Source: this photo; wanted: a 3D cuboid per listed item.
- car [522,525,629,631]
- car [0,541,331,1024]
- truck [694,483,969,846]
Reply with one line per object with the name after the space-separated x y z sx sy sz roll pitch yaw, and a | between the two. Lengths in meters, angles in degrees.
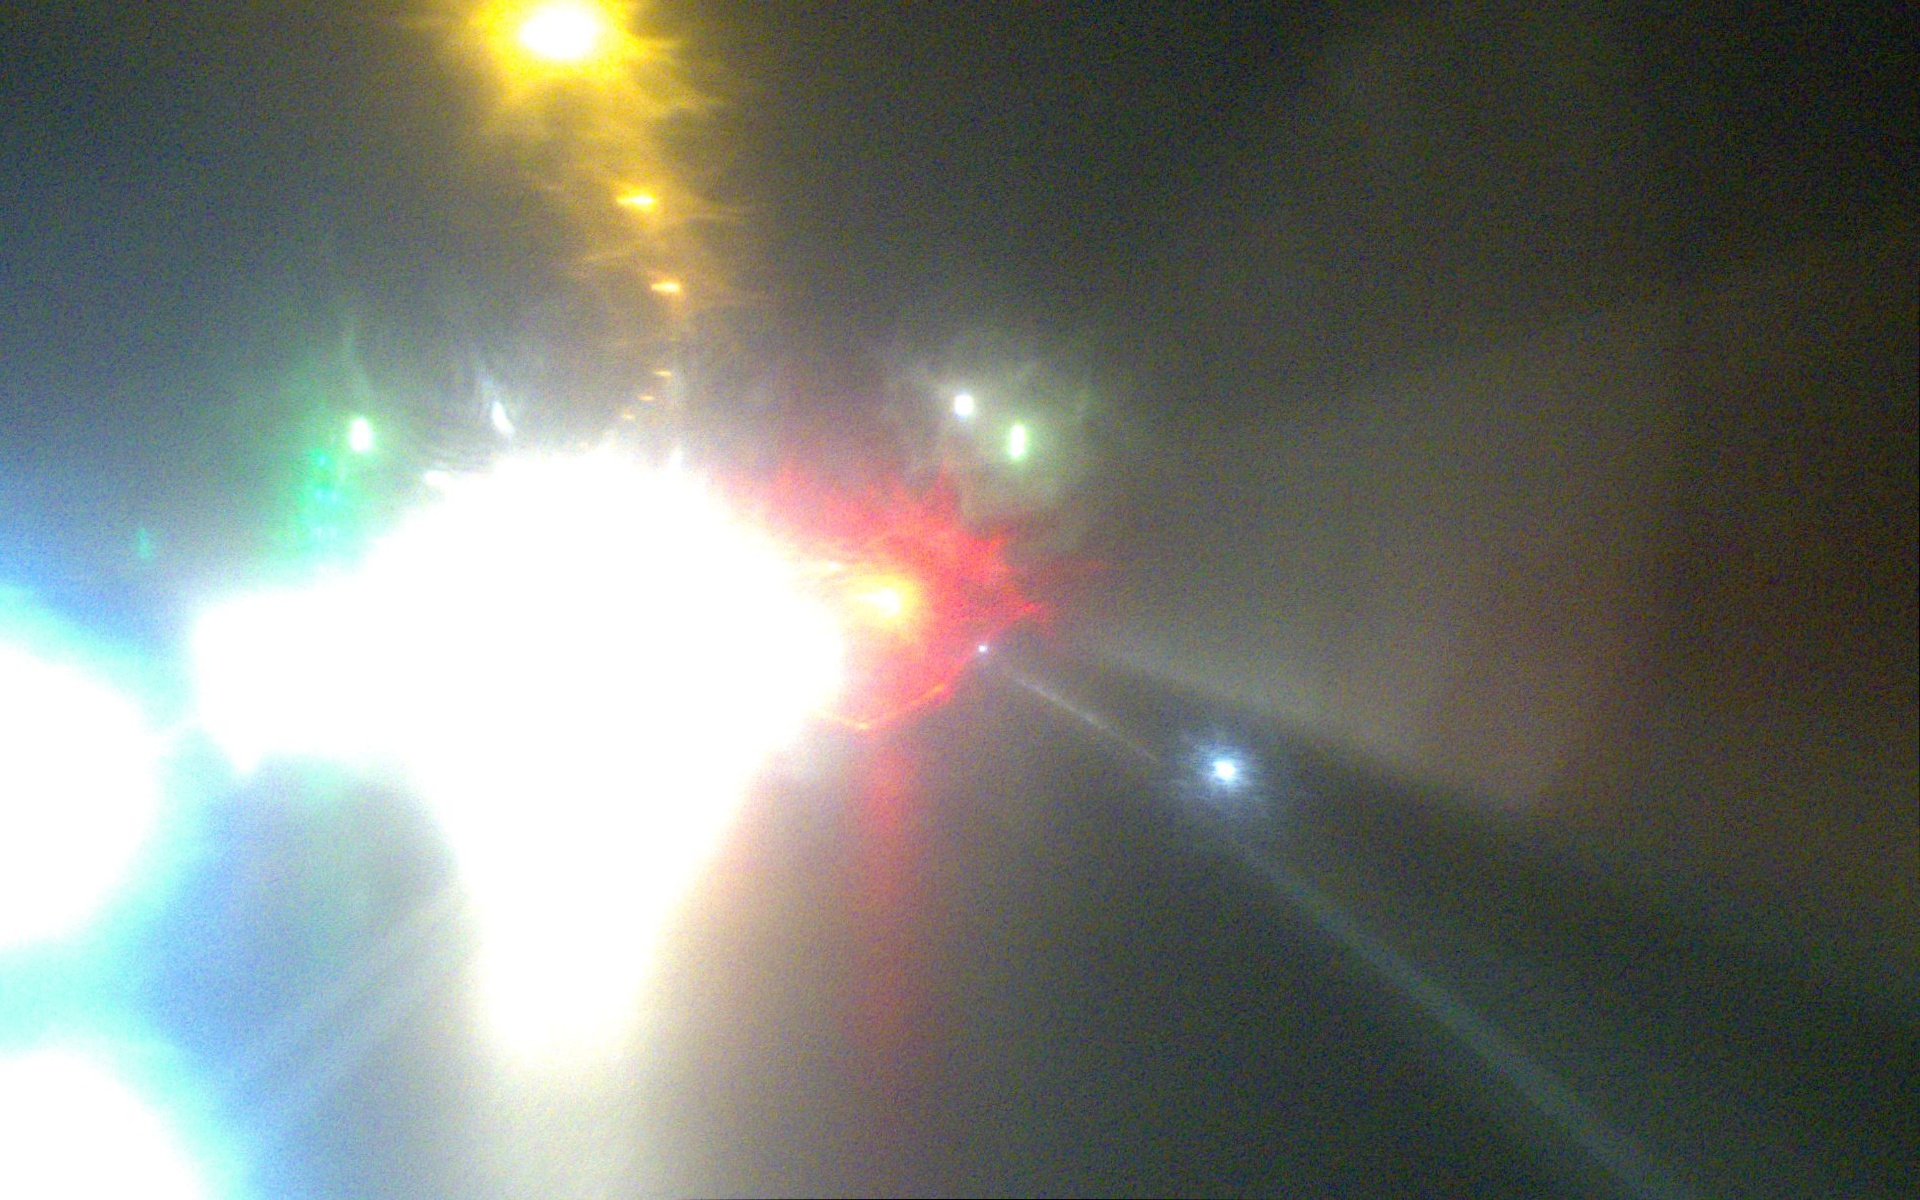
-6.288 -0.376 56.442 1.630 1.644 3.776 -1 1 -5 | car
-3.443 0.537 12.605 1.655 1.488 3.839 1 1 -2 | car
-1.084 0.482 32.404 2.262 3.000 7.415 1 1 0 | truck
